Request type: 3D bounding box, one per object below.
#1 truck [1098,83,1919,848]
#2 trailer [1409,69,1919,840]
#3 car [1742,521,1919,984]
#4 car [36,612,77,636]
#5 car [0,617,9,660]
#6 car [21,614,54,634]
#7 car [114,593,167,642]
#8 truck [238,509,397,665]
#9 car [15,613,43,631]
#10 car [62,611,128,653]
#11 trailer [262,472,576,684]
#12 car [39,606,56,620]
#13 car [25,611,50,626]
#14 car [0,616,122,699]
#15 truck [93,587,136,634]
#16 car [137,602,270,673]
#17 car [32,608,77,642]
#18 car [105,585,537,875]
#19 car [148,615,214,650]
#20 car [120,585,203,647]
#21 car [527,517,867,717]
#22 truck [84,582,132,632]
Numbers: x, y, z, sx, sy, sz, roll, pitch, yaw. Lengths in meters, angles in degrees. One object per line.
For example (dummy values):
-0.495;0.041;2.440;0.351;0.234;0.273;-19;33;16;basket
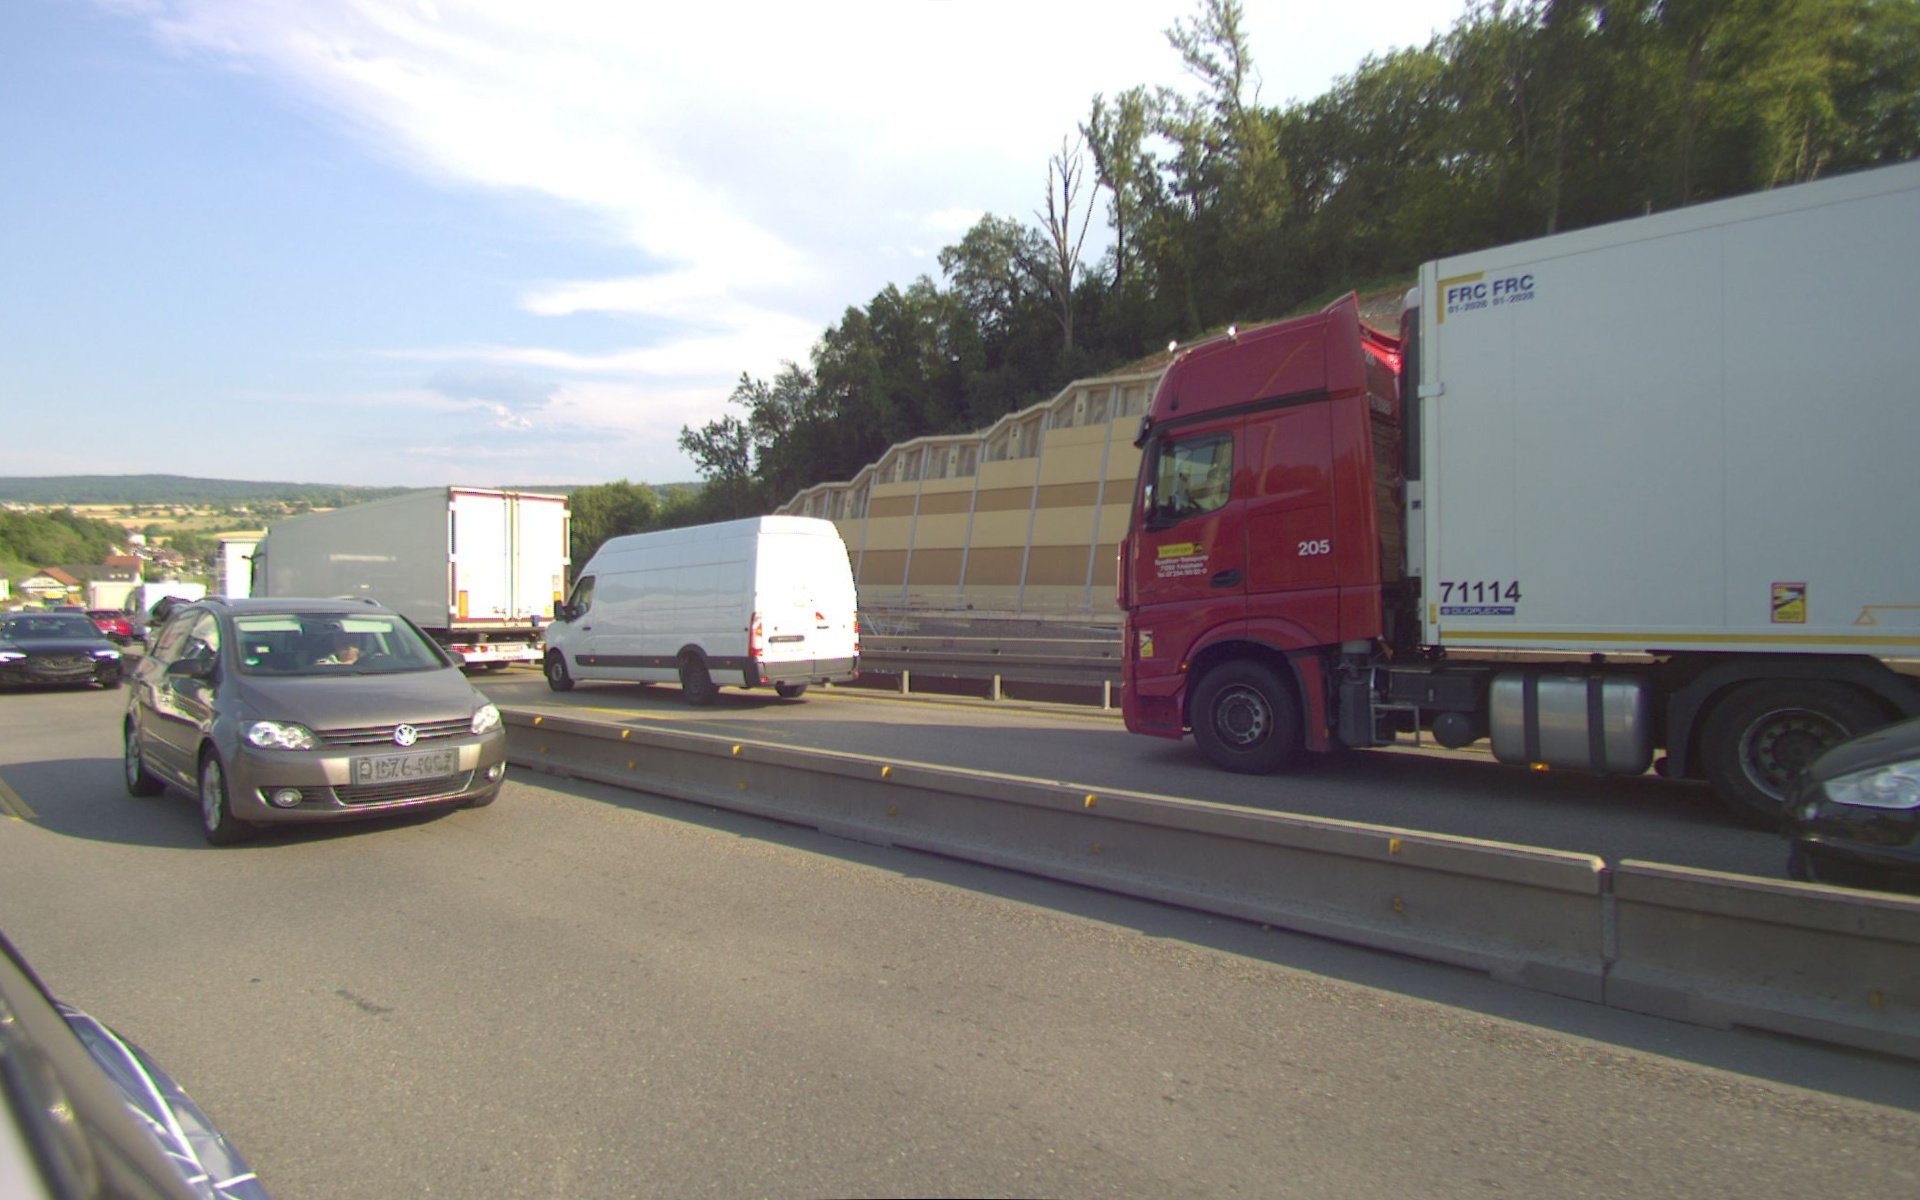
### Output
4.402;-0.741;8.423;5.930;4.332;2.717;-1;-1;41;truck
9.485;-0.856;4.037;13.872;4.366;2.737;-1;-1;41;trailer
5.478;0.526;3.029;4.860;1.670;1.734;-1;-1;41;car
-62.888;1.702;70.411;1.796;1.591;4.757;3;-4;-45;car
-33.616;1.321;34.512;1.674;1.409;4.004;-2;0;-43;car
-77.366;2.039;84.869;1.796;1.591;4.757;3;-4;-45;car
-46.639;0.984;57.539;1.933;2.640;5.754;1;-1;-43;car
-19.474;-0.331;30.572;5.681;4.250;2.684;-1;-1;42;truck
-90.206;2.167;98.034;1.796;1.591;4.757;3;-4;-45;car
-36.033;1.315;42.136;1.865;1.580;4.459;-1;0;-43;car
-14.433;-0.385;25.948;13.747;4.250;2.691;-1;-1;42;trailer
-142.989;2.088;158.578;1.796;2.015;4.757;3;-4;-45;car
-102.573;2.099;112.558;1.796;1.591;4.757;3;-4;-45;car
-17.509;1.022;19.324;4.000;1.409;1.842;0;-1;43;car
-65.855;0.817;78.759;2.417;3.489;7.627;0;-1;-41;truck
-18.774;0.877;25.022;4.804;1.601;1.849;-1;-1;43;car
-50.513;1.396;56.445;1.783;1.785;5.459;0;-2;-42;car
-4.912;0.719;7.527;4.098;1.586;1.666;-1;0;42;car
-34.465;1.396;44.723;1.729;1.433;4.612;-1;0;-45;car
-40.371;0.772;51.078;7.635;2.940;2.308;0;-1;44;car
-4.641;0.251;16.803;6.948;2.710;2.000;-1;0;43;car
-75.304;0.602;89.328;2.675;4.119;14.171;1;-1;-42;truck
